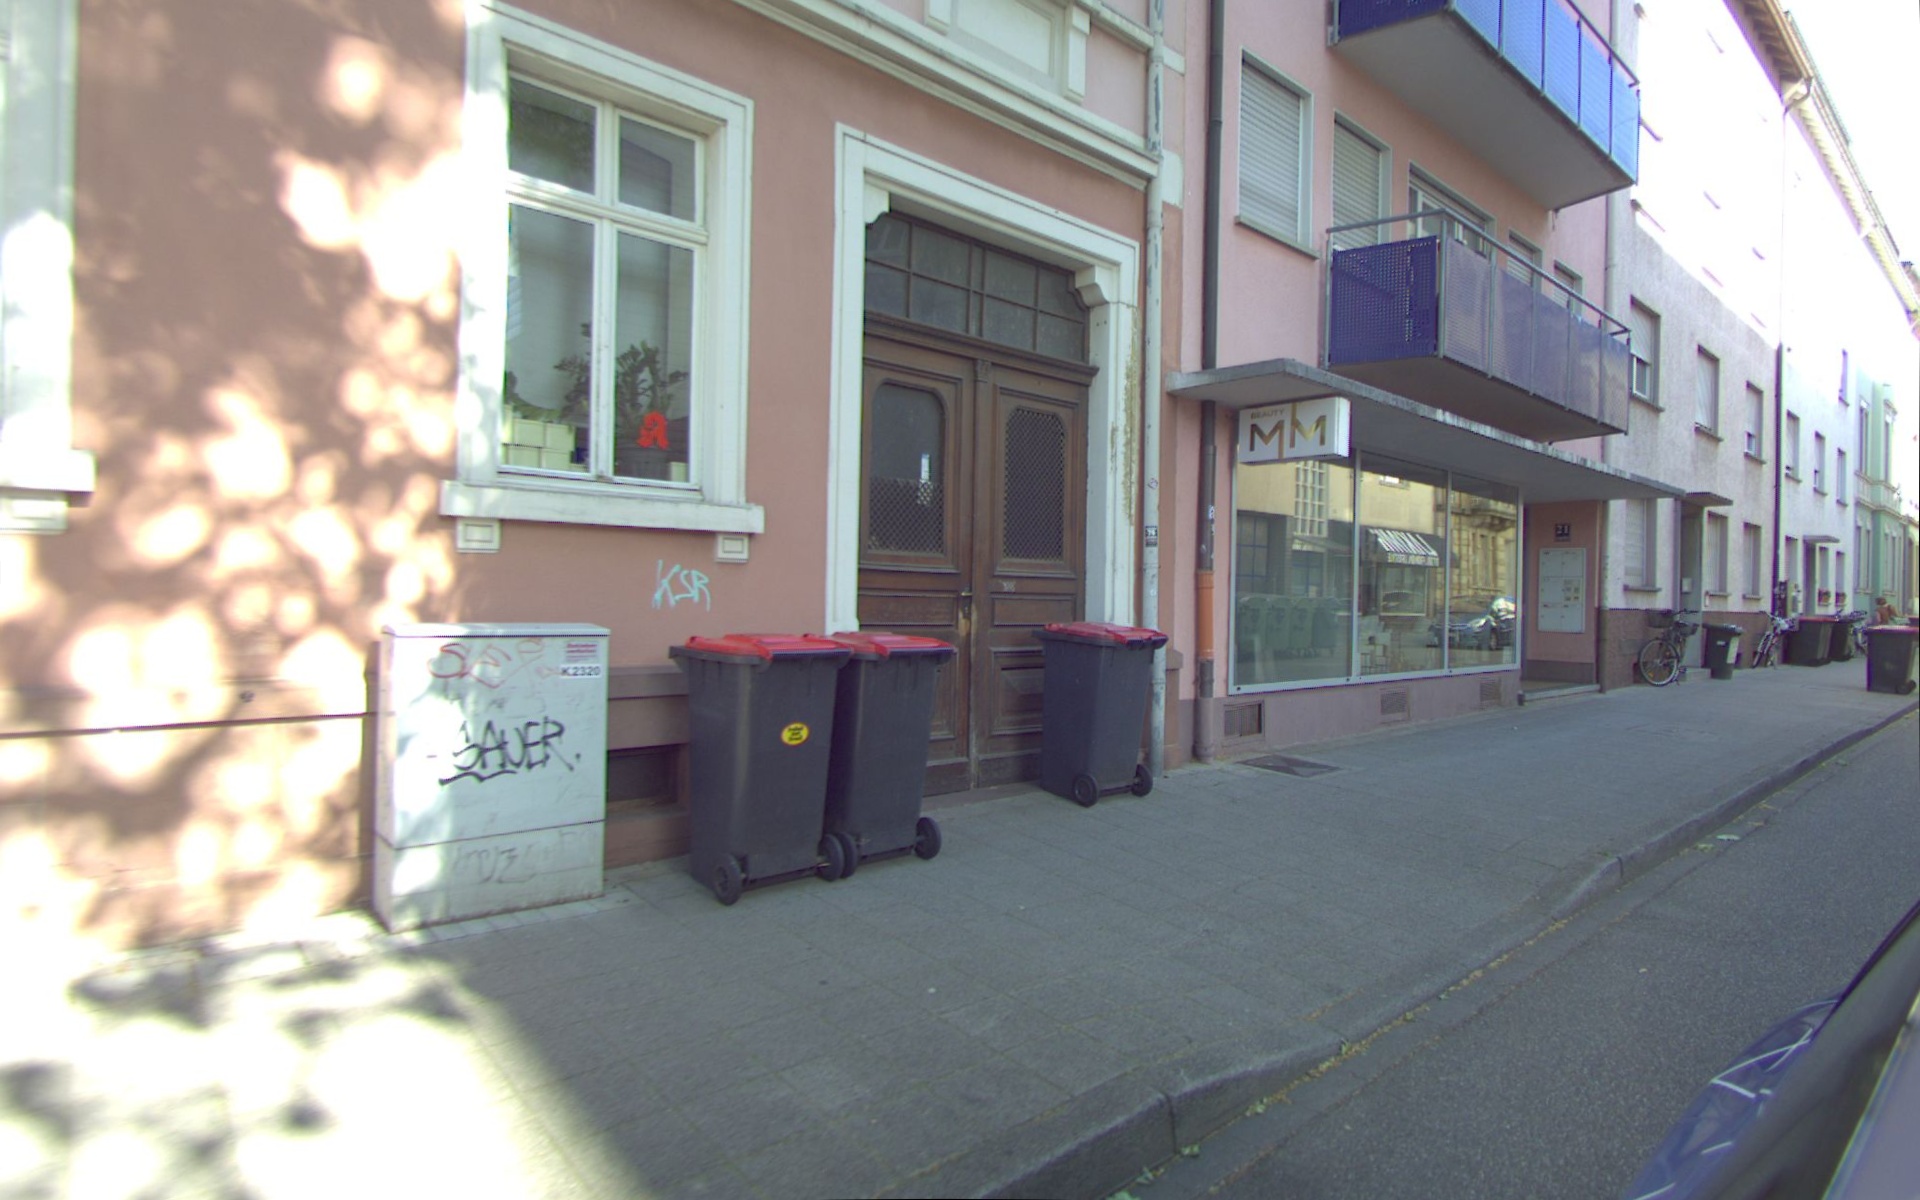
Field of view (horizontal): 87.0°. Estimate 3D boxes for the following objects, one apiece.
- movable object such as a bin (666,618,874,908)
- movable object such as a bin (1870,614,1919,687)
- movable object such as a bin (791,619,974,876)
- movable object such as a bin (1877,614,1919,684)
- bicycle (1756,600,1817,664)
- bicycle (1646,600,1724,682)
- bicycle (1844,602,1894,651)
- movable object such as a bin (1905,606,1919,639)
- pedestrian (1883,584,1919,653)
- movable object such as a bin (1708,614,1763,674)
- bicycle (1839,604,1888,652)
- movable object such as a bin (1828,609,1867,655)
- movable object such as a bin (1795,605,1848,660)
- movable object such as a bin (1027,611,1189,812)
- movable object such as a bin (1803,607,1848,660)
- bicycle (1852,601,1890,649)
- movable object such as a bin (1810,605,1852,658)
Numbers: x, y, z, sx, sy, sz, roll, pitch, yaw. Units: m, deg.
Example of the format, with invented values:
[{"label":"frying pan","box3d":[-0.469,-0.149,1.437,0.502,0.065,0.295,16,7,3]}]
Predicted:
[{"label":"movable object such as a bin","box3d":[-0.847,0.650,4.466,0.623,1.099,0.747,0,1,-39]},{"label":"movable object such as a bin","box3d":[15.115,0.796,16.162,0.681,1.100,0.769,0,1,-40]},{"label":"movable object such as a bin","box3d":[-0.382,0.653,4.877,0.586,1.086,0.703,0,1,-39]},{"label":"movable object such as a bin","box3d":[15.636,0.796,16.633,0.691,1.094,0.734,0,1,-40]},{"label":"bicycle","box3d":[16.619,0.619,20.336,2.040,1.184,0.538,1,4,-42]},{"label":"bicycle","box3d":[11.023,0.588,15.364,1.885,1.148,0.454,0,3,-40]},{"label":"bicycle","box3d":[23.856,0.676,26.543,2.223,1.221,0.439,0,1,-34]},{"label":"movable object such as a bin","box3d":[32.811,0.768,34.459,0.661,1.102,0.814,0,1,-39]},{"label":"pedestrian","box3d":[24.251,0.461,25.949,0.672,1.733,0.658,0,1,-29]},{"label":"movable object such as a bin","box3d":[13.094,0.728,17.081,0.670,0.963,0.599,0,1,-40]},{"label":"bicycle","box3d":[23.061,0.694,25.825,1.833,1.168,0.570,0,1,-37]},{"label":"movable object such as a bin","box3d":[21.627,0.777,24.664,0.592,1.075,0.617,1,2,-41]},{"label":"movable object such as a bin","box3d":[18.766,0.692,22.047,0.628,1.111,0.741,0,3,-40]},{"label":"movable object such as a bin","box3d":[0.917,0.645,6.302,0.681,1.118,0.730,0,1,-43]},{"label":"movable object such as a bin","box3d":[19.195,0.733,22.445,0.582,1.119,0.658,1,0,-40]},{"label":"bicycle","box3d":[24.762,0.662,27.505,2.120,1.221,0.406,0,1,-38]},{"label":"movable object such as a bin","box3d":[19.618,0.703,22.800,0.559,1.136,0.629,0,1,-40]}]
